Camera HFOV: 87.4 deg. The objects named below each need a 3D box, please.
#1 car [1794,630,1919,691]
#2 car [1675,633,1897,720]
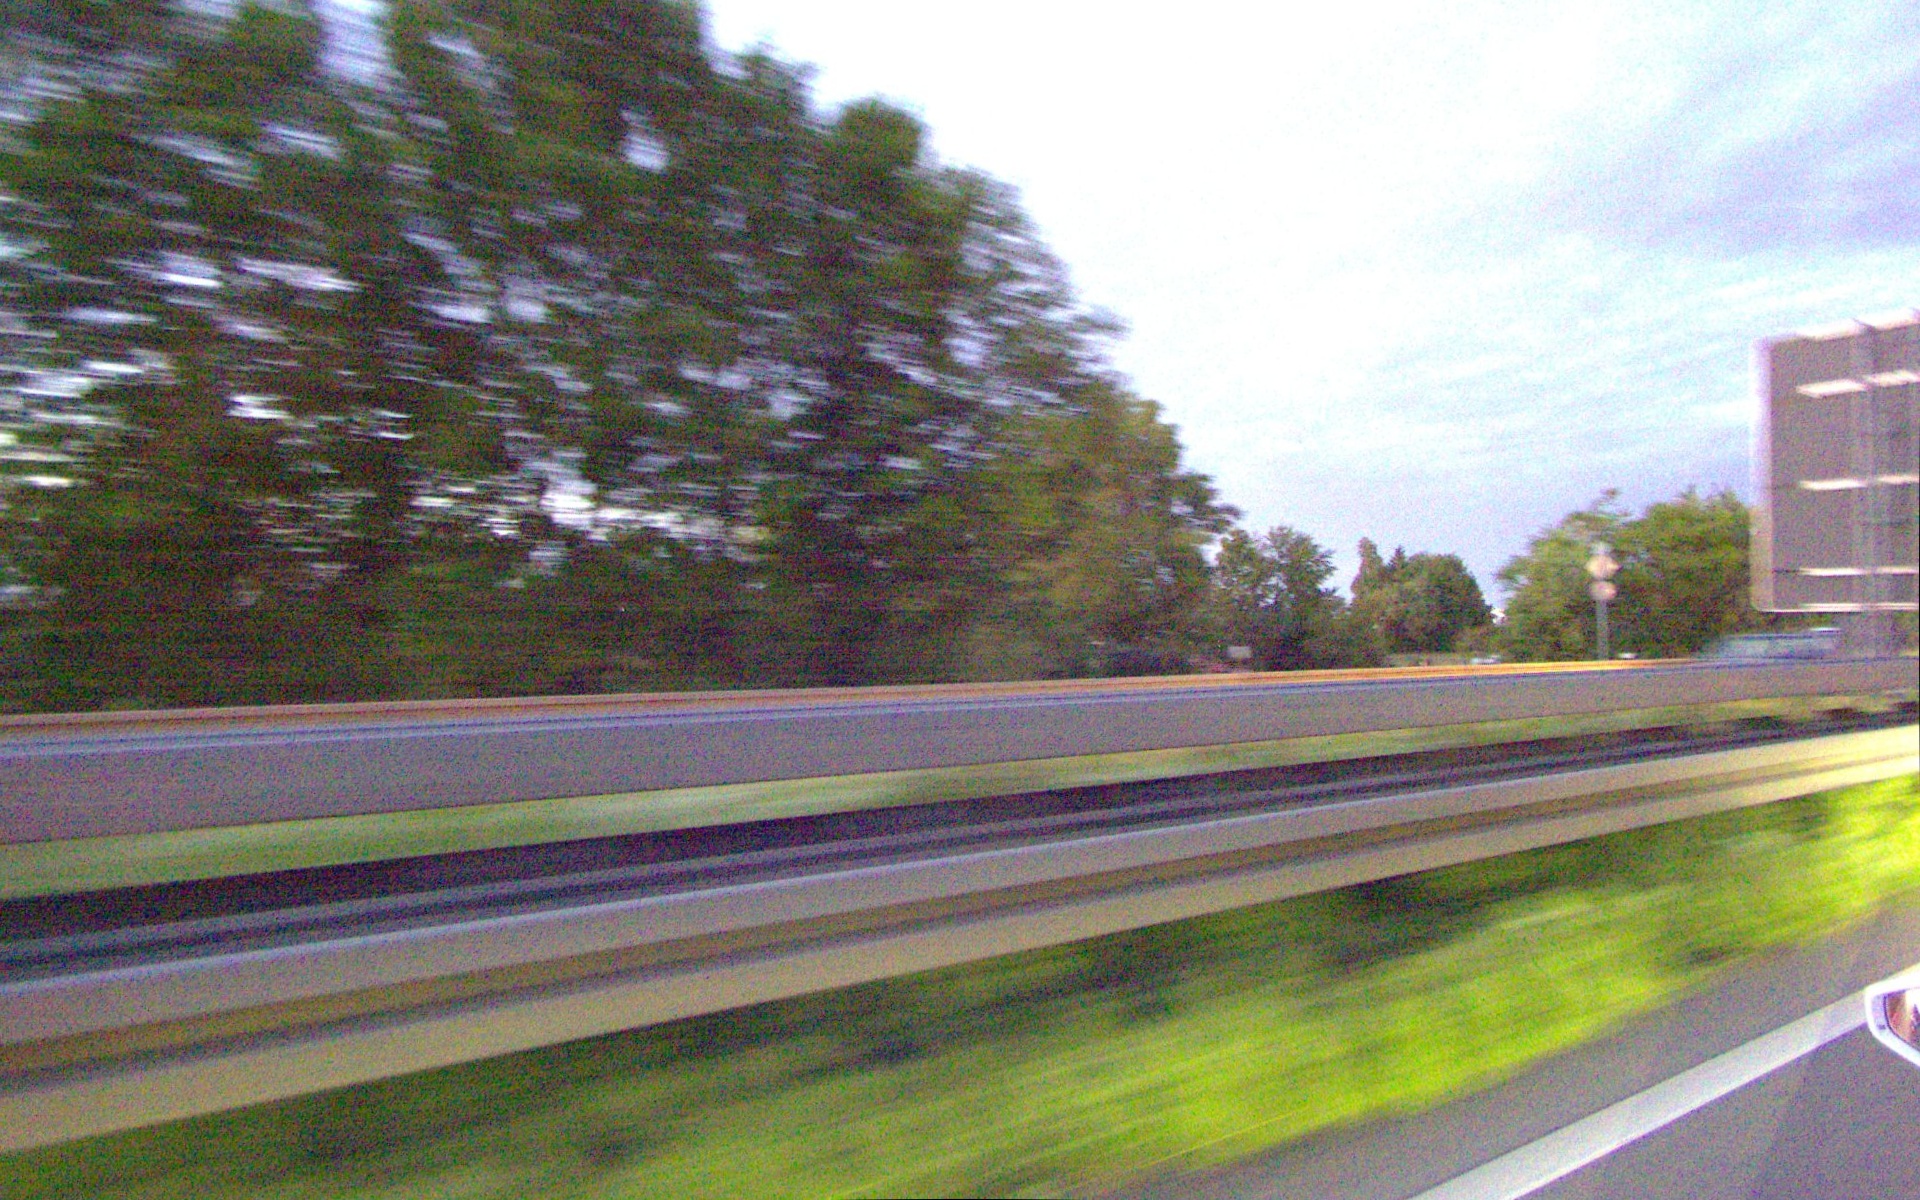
[{"bbox_3d":[26.860,1.755,29.984,4.453,1.693,1.784,1,-1,-33],"label":"car"},{"bbox_3d":[15.398,1.346,18.675,4.453,1.450,1.910,1,-3,-33],"label":"car"}]
